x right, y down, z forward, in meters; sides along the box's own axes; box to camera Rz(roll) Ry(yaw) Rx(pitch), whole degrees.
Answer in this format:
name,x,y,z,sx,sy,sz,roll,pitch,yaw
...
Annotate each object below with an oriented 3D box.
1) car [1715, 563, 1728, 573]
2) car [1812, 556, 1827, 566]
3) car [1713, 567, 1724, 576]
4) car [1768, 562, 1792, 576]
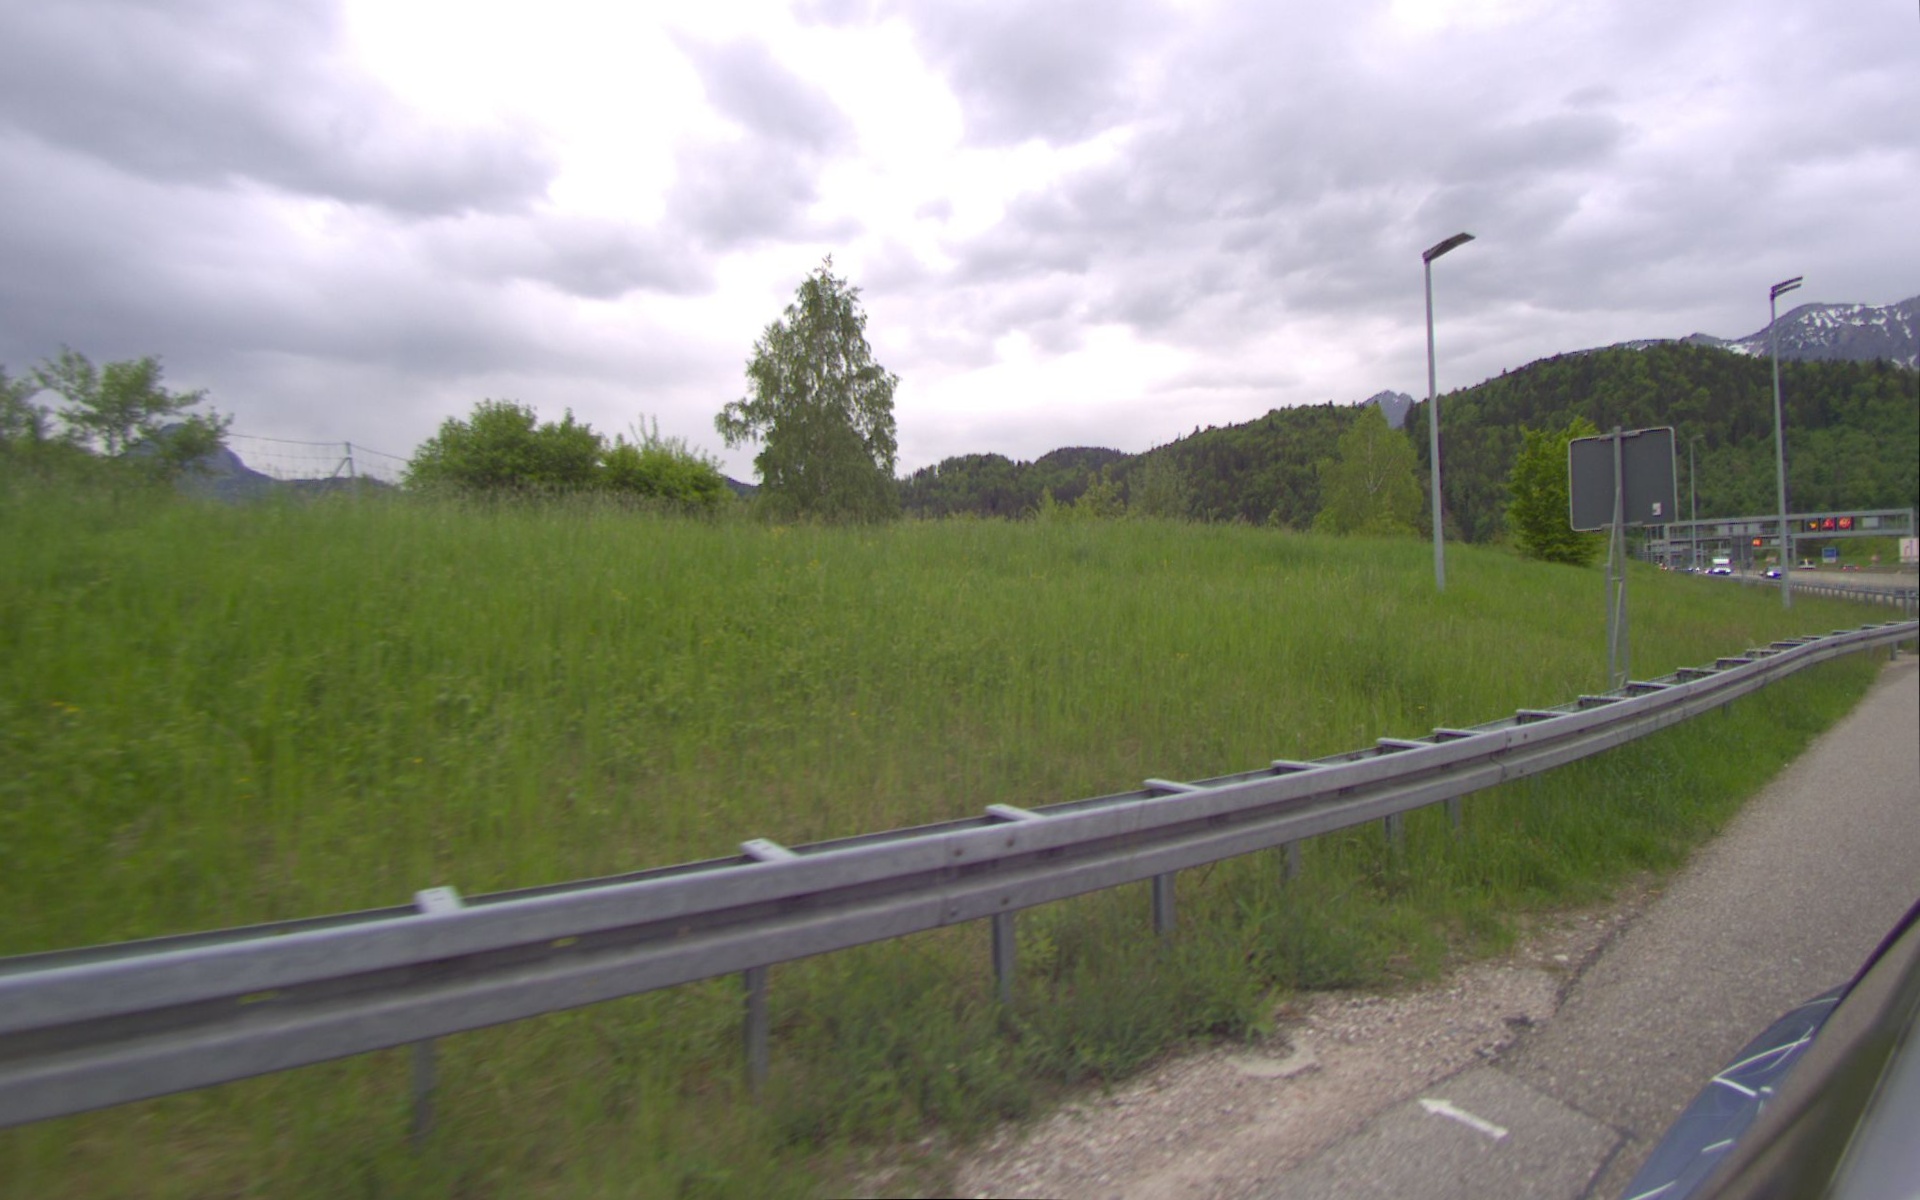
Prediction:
name,x,y,z,sx,sy,sz,roll,pitch,yaw
car,128.733,-5.404,171.079,1.623,1.719,3.449,1,2,38
car,156.777,-7.108,184.588,1.904,1.719,3.449,1,2,38
car,144.186,-5.446,192.278,1.623,1.719,3.449,1,2,38
car,86.162,-3.269,106.365,1.653,1.353,3.747,1,2,34
